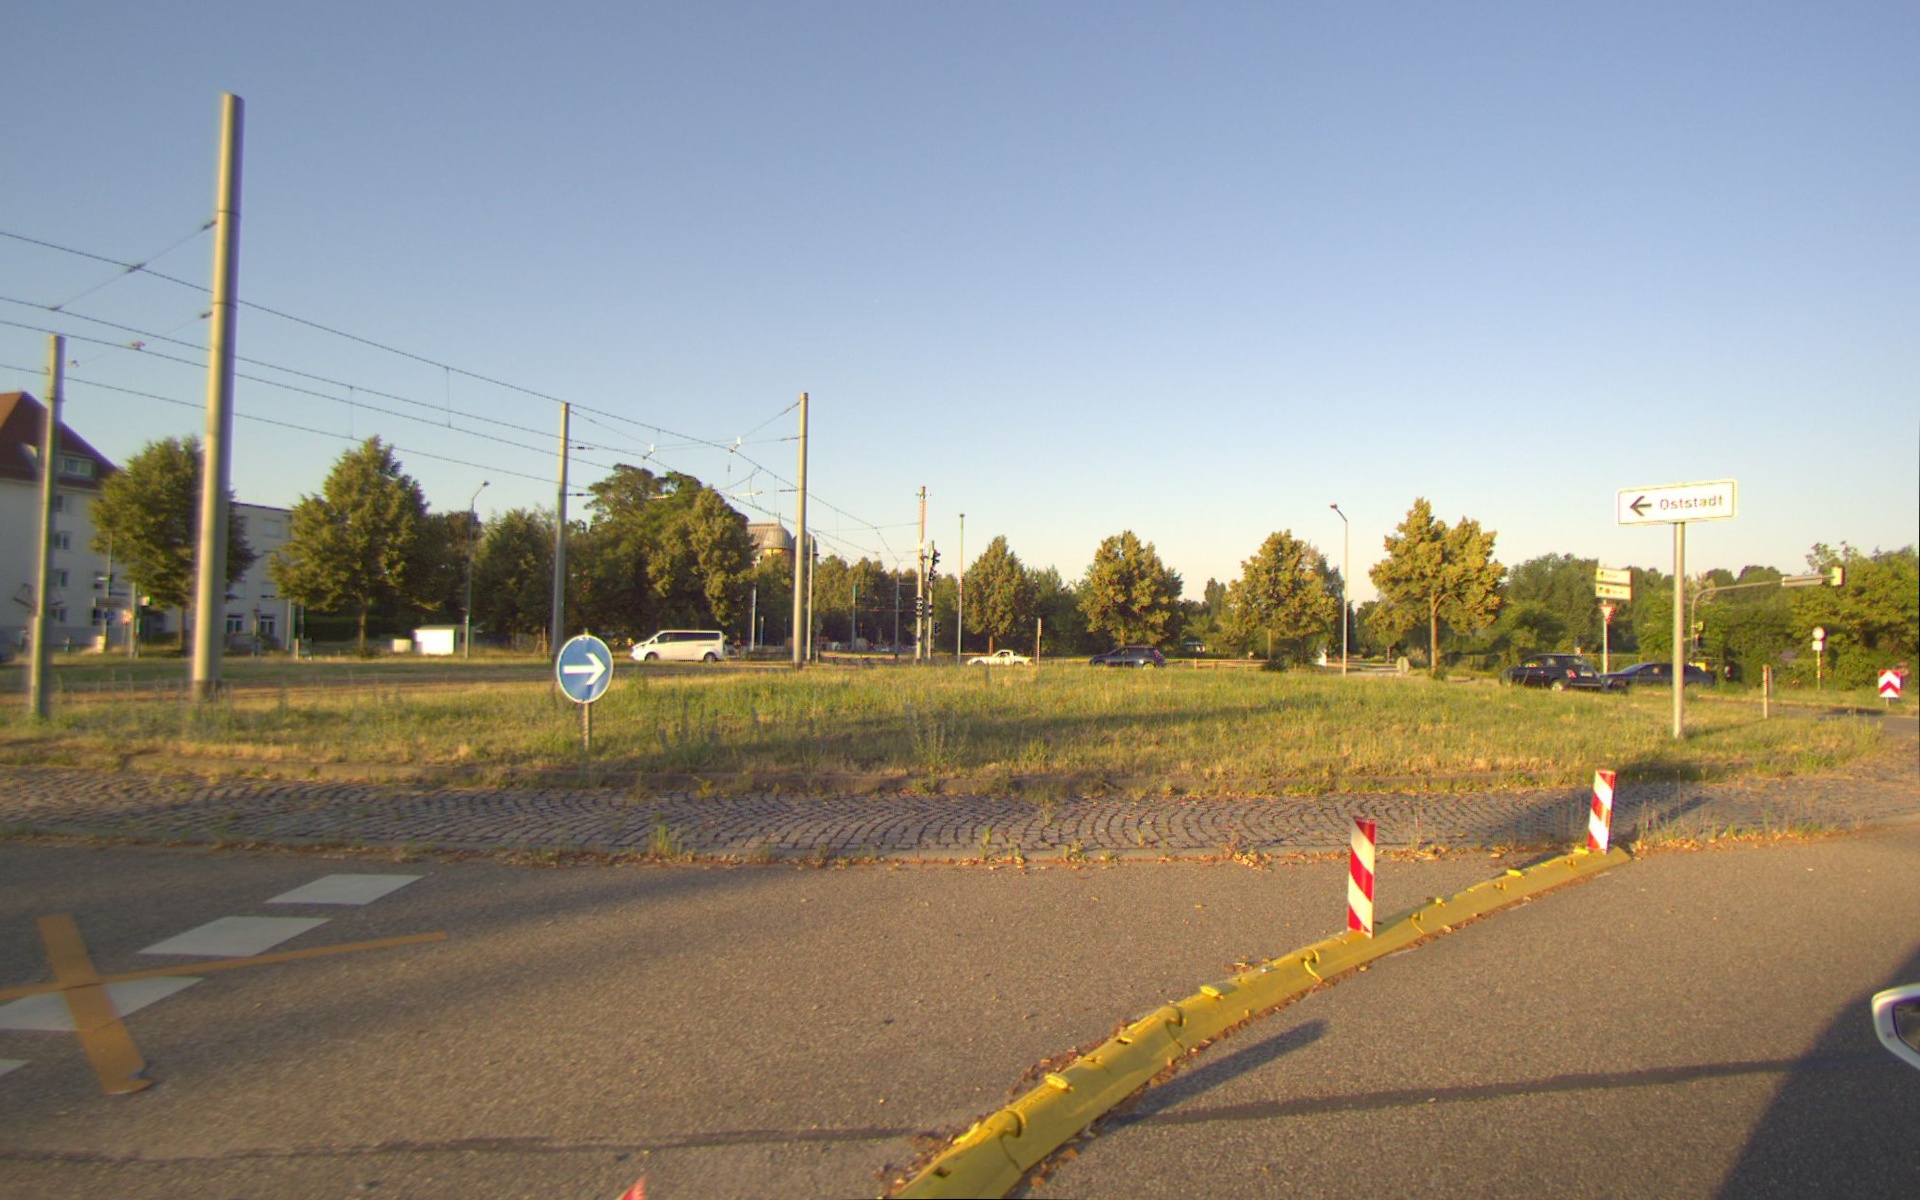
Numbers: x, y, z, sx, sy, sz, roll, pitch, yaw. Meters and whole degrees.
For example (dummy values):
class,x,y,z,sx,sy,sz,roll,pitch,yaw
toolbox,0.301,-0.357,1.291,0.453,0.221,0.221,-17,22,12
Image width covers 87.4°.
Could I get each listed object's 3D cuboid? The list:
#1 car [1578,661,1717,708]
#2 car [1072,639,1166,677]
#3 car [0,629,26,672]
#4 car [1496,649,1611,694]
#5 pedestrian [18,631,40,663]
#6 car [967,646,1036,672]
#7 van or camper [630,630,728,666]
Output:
class,x,y,z,sx,sy,sz,roll,pitch,yaw
car,28.941,3.533,42.416,4.504,1.770,1.753,1,-2,14
car,8.078,2.921,50.921,4.506,1.770,1.752,0,-2,18
car,-33.185,1.631,32.072,1.892,1.434,4.655,0,-2,13
car,21.555,2.570,36.673,1.717,1.465,4.135,1,-2,-1
pedestrian,-48.616,2.438,52.427,0.555,1.642,0.595,0,-1,14
car,2.331,3.300,56.622,3.704,1.272,1.581,2,-1,8
van or camper,-16.229,2.780,58.067,5.232,2.036,1.903,2,-2,-26
